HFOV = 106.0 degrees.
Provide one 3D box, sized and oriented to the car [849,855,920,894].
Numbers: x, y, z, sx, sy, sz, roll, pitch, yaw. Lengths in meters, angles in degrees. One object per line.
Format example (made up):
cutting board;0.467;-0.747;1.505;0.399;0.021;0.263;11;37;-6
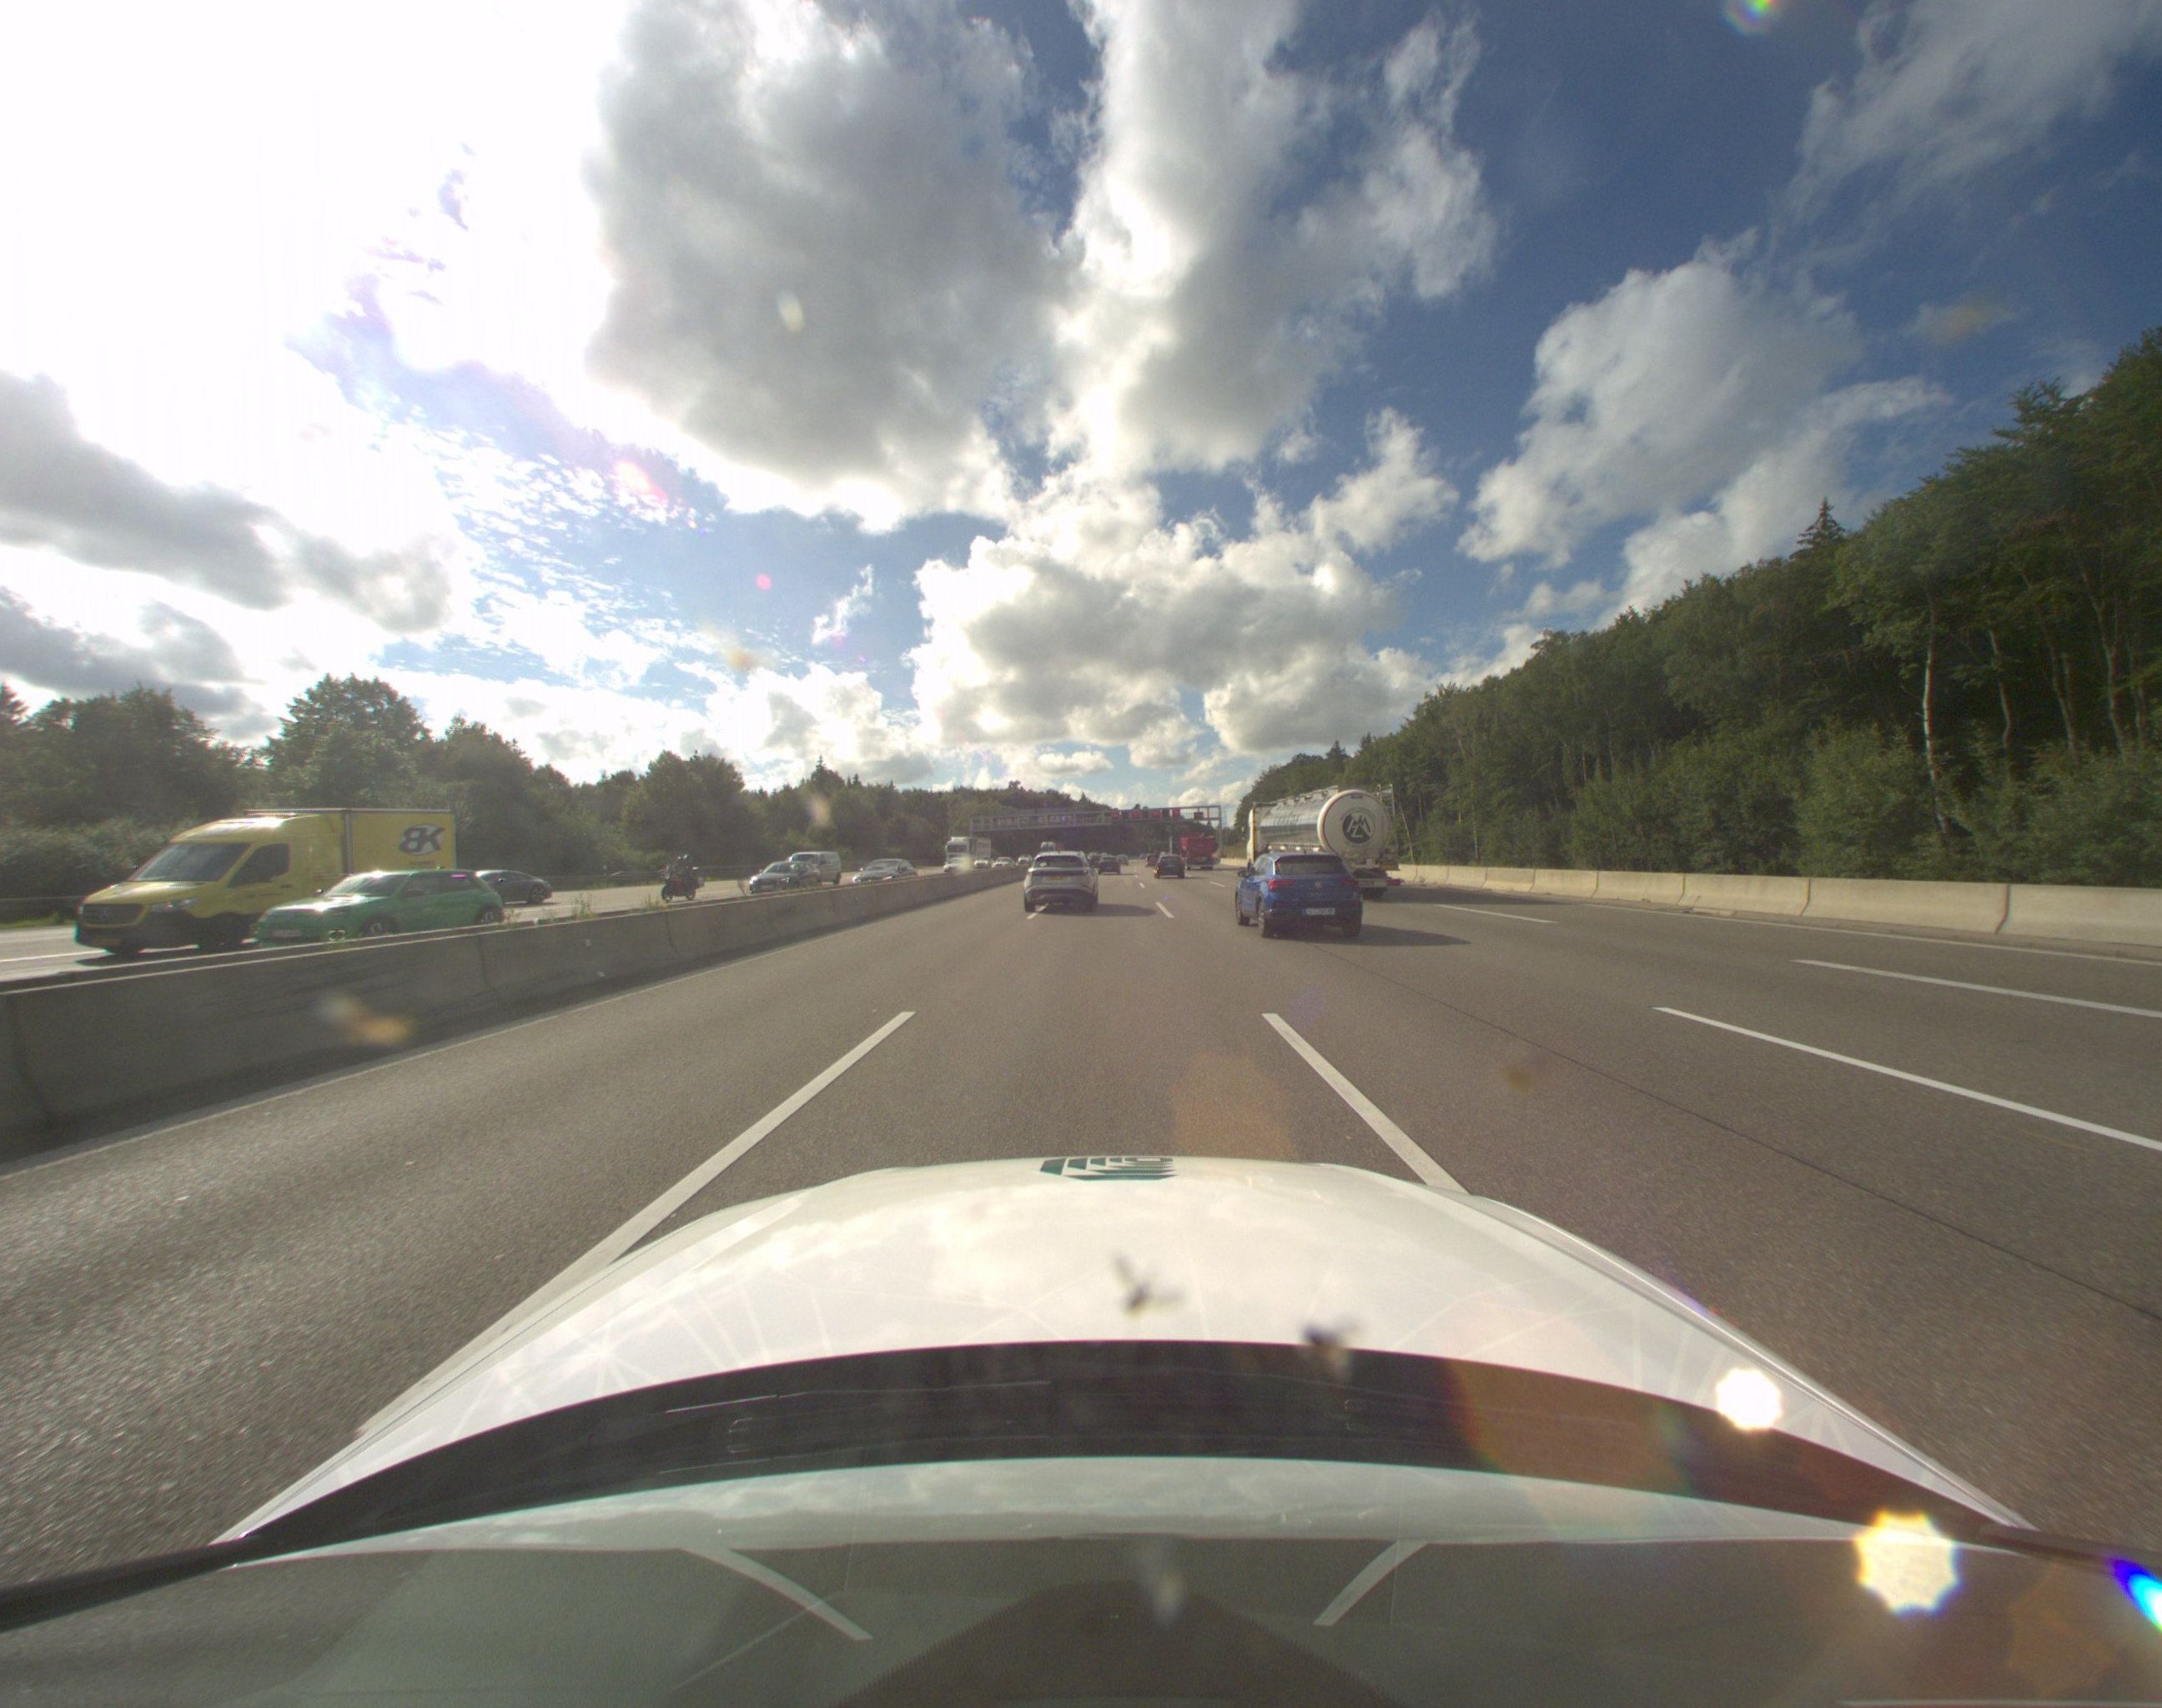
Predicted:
car;-8.587;0.852;36.037;1.856;1.552;4.663;-1;0;1

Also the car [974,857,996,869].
car;-11.619;1.060;99.059;1.803;1.453;4.805;-1;0;3

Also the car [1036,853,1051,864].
car;-5.946;0.705;128.759;1.700;1.594;4.950;-1;0;5

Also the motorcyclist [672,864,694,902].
motorcyclist;-15.704;1.133;32.158;0.600;1.476;0.532;0;-1;3

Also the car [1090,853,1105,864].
car;2.295;0.647;112.345;1.934;1.457;4.003;-2;0;3

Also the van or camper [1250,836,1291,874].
van or camper;12.153;0.049;52.462;1.814;2.307;4.944;-1;0;4

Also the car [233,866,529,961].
car;-13.032;1.021;15.608;1.776;1.470;4.333;-1;0;2

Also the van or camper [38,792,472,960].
van or camper;-16.907;0.383;17.493;2.363;2.891;6.513;-1;0;4

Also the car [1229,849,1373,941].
car;4.141;0.694;16.064;1.766;1.530;4.460;-1;0;2

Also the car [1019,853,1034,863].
car;-9.014;0.692;136.017;1.785;1.617;5.050;0;0;4

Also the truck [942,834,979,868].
truck;-15.288;-0.403;103.834;3.304;4.106;6.230;-1;0;3

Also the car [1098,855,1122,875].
car;2.305;0.844;64.105;1.815;1.546;4.003;-1;0;2

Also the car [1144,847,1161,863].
car;8.526;0.163;97.318;1.886;1.857;4.102;0;0;2

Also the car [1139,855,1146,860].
car;18.000;1.051;238.009;2.066;1.457;4.007;-2;0;6

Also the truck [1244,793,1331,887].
truck;9.147;-0.574;36.748;2.637;3.823;6.087;-2;0;3

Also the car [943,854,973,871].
car;-10.600;0.718;70.695;1.763;1.394;4.692;-1;0;1

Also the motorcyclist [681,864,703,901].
motorcyclist;-15.661;1.129;32.766;0.600;1.476;0.532;0;-1;3

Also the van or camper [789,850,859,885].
van or camper;-15.052;0.761;48.086;1.984;1.937;5.465;-1;0;5

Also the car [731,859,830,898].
car;-12.597;0.996;34.523;2.162;1.470;4.790;-1;0;3

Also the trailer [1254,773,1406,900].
trailer;8.785;-0.547;30.549;2.637;3.767;11.871;-2;0;3

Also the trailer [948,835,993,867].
trailer;-14.858;-0.402;110.812;3.304;4.106;14.167;-1;0;3

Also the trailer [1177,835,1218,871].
trailer;10.948;-0.108;77.332;2.700;3.231;9.735;-1;0;1

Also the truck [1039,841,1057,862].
truck;-6.494;-0.531;161.510;2.724;4.106;5.776;-1;0;7

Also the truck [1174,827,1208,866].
truck;11.058;-0.744;82.226;2.700;3.718;5.819;-1;0;1

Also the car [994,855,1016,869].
car;-8.013;0.850;86.269;1.674;1.397;4.718;-1;0;3

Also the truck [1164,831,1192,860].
truck;13.912;-1.139;117.749;3.107;3.935;10.415;-1;0;2

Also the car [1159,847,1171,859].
car;13.525;-0.160;130.770;1.884;1.857;4.107;0;0;5

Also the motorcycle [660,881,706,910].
motorcycle;-15.687;1.613;32.161;0.607;1.040;2.177;-1;0;3

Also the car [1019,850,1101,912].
car;-0.482;0.698;23.891;1.998;1.616;5.304;0;0;3

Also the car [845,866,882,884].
car;-18.209;1.716;68.335;1.816;1.394;4.279;-1;0;1

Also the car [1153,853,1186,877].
car;5.607;0.694;52.061;1.815;1.457;4.002;-1;0;2

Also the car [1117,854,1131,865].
car;5.893;0.717;112.037;1.815;1.457;4.003;-1;-1;3
